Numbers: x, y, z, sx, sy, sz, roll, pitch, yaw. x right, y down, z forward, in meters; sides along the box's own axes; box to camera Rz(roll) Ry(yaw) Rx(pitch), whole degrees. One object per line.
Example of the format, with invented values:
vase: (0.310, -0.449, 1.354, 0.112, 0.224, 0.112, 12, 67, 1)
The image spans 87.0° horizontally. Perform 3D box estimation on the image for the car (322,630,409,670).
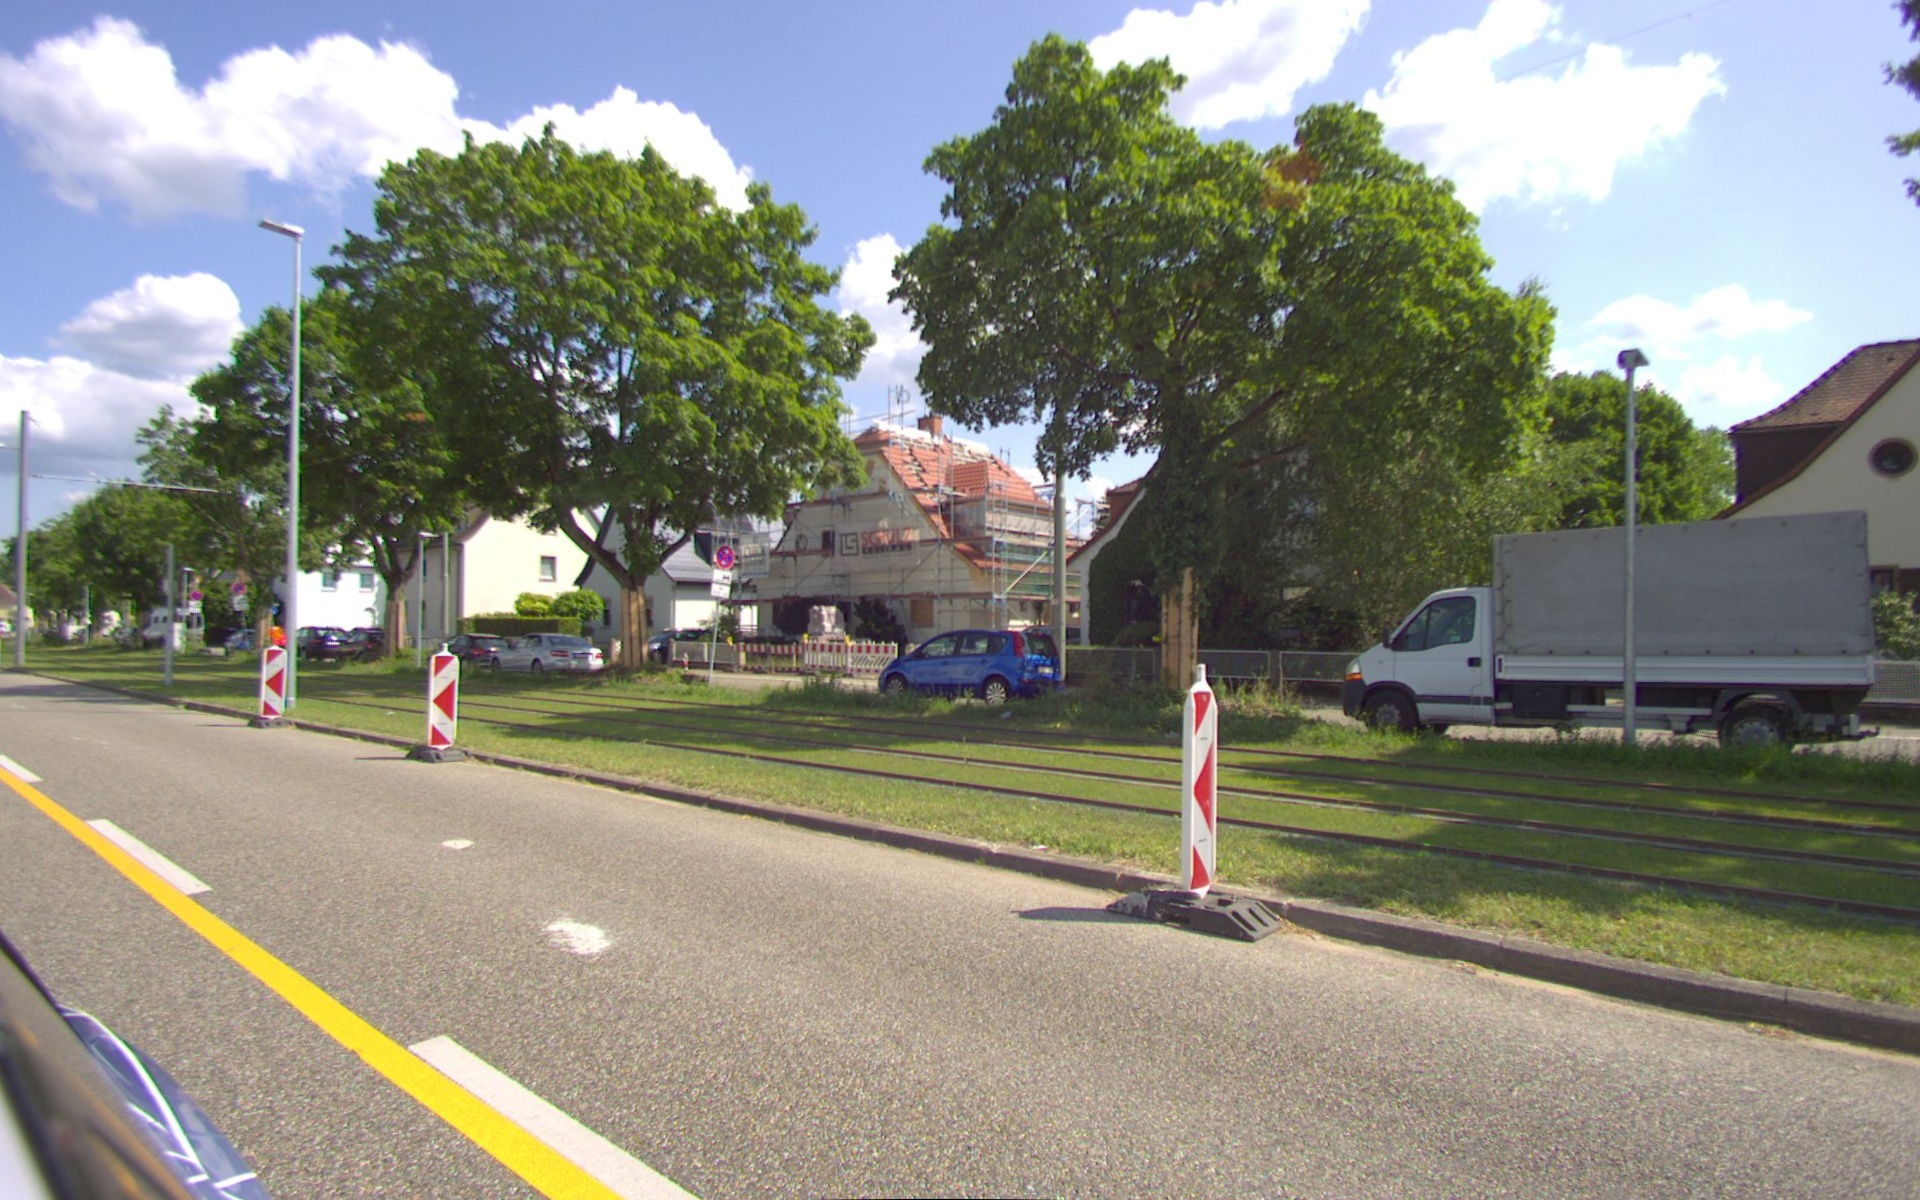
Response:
car: (-25.184, 2.079, 42.828, 4.603, 1.623, 1.733, -2, -3, 40)

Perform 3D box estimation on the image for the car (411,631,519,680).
car: (-17.615, 1.919, 35.933, 4.603, 1.623, 1.733, -2, -3, 40)

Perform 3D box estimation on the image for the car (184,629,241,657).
car: (-44.648, 2.559, 60.404, 4.603, 1.623, 1.733, -2, -3, 40)

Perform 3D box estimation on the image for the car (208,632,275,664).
car: (-37.647, 2.474, 52.979, 4.603, 1.623, 1.733, -2, -3, 40)

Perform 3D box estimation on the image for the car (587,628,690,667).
car: (-14.084, 2.052, 44.510, 1.756, 1.623, 3.995, -2, -3, 41)

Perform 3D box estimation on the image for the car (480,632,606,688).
car: (-13.173, 1.834, 31.863, 4.603, 1.623, 1.733, -2, -3, 40)

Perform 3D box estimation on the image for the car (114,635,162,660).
car: (-57.026, 3.275, 70.148, 4.603, 1.623, 1.733, -2, -3, 40)

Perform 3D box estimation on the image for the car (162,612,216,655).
car: (-48.839, 2.113, 64.099, 4.603, 2.636, 1.733, -2, -3, 40)

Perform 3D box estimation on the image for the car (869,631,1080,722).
car: (0.225, 1.447, 20.204, 4.047, 1.623, 1.733, -2, -3, 40)

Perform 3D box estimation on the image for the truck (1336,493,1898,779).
truck: (8.276, 0.467, 13.359, 5.871, 3.010, 1.982, -2, -3, 41)

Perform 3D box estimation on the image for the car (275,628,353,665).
car: (-29.604, 2.103, 46.331, 4.603, 1.623, 1.733, -2, -3, 40)
